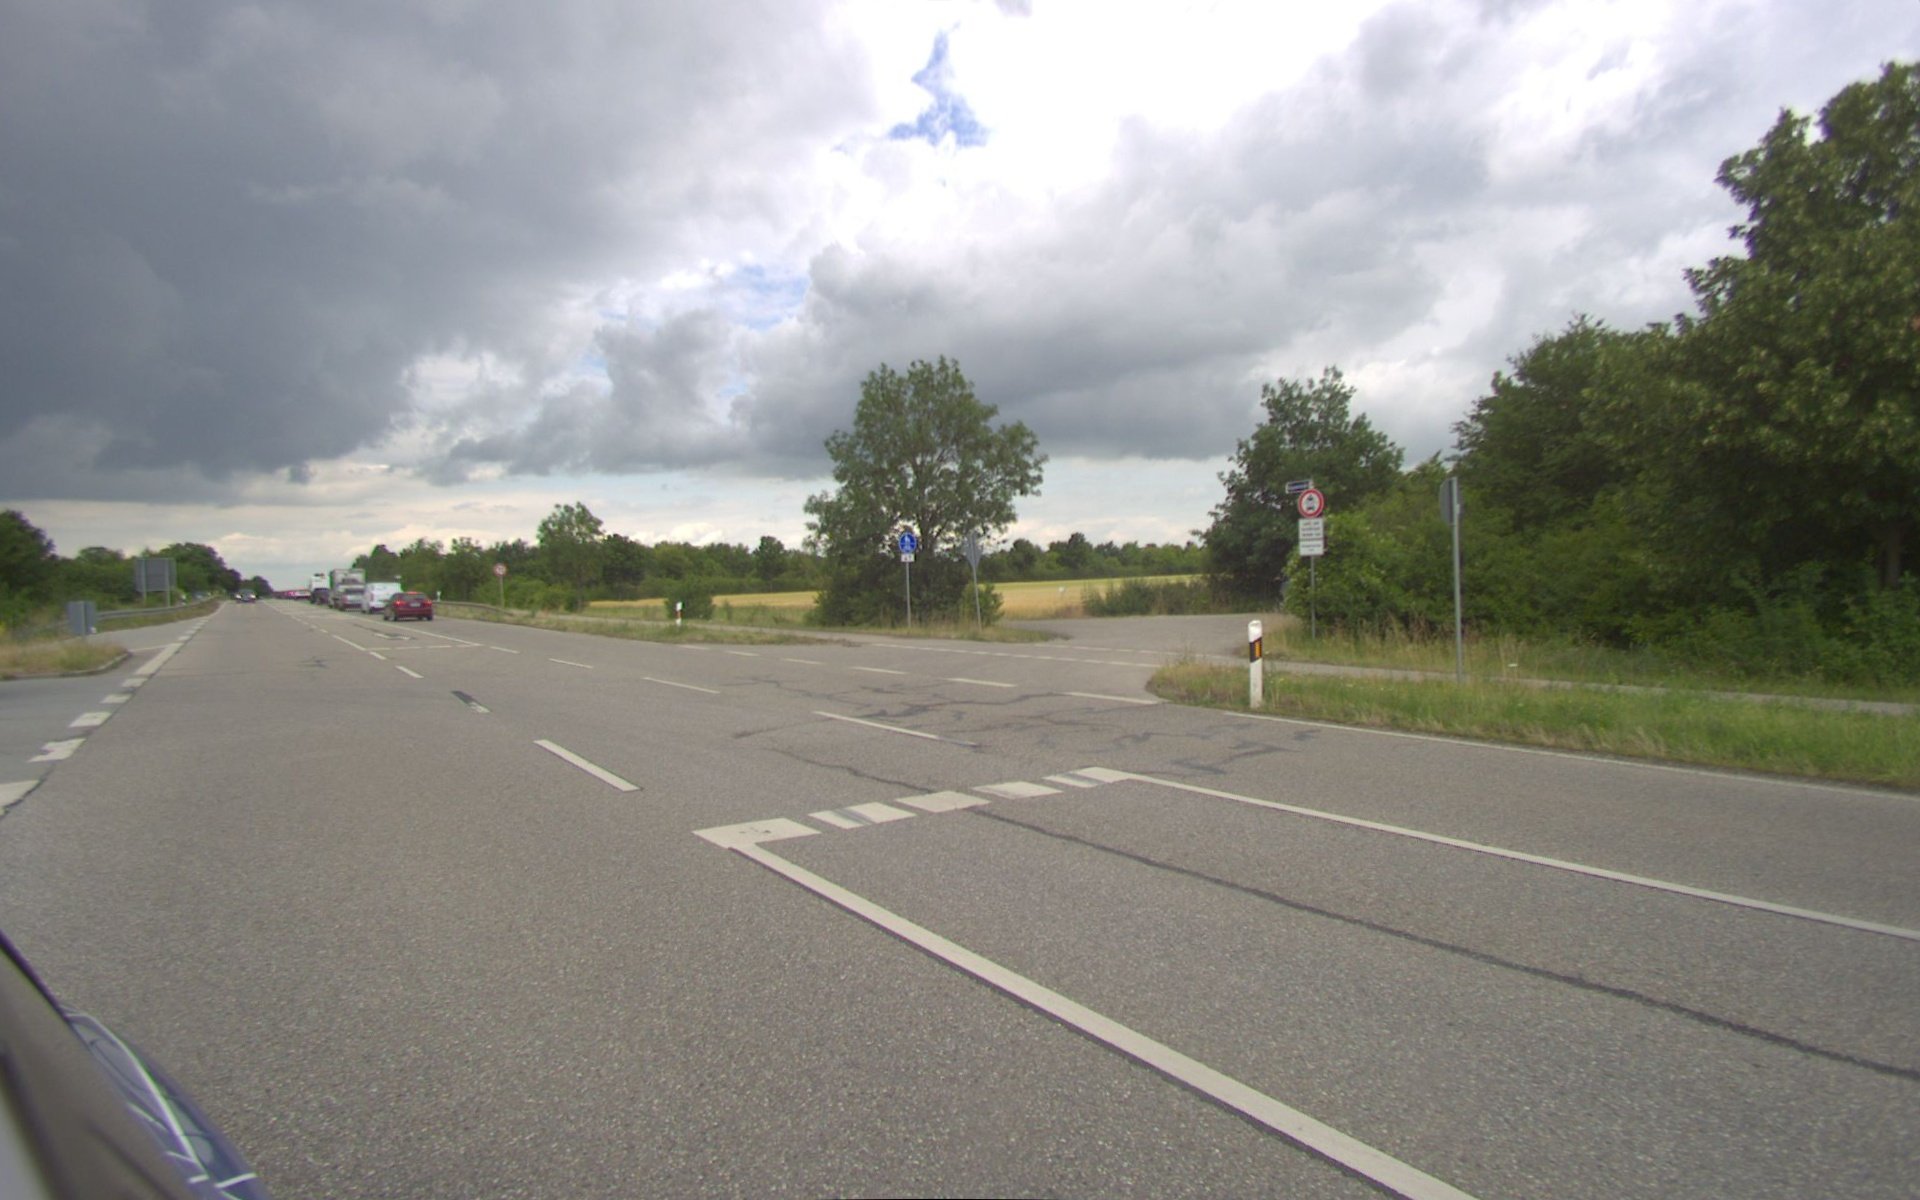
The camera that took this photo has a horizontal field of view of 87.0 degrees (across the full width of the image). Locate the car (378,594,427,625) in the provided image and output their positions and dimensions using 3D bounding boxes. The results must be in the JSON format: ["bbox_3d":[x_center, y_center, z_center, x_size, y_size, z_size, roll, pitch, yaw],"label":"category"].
[{"bbox_3d":[-27.451,0.468,49.779,1.650,1.412,4.099,-2,0,-35],"label":"car"}]

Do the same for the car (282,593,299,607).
[{"bbox_3d":[-97.866,0.003,147.909,1.768,2.028,4.009,-3,1,-37],"label":"car"}]

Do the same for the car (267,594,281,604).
[{"bbox_3d":[-122.663,-0.131,180.958,1.827,1.763,4.010,-3,1,-35],"label":"car"}]

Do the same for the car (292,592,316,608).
[{"bbox_3d":[-84.888,-0.020,130.872,2.303,1.936,4.887,-3,1,-36],"label":"car"}]

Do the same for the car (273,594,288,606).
[{"bbox_3d":[-108.724,-0.048,161.929,1.827,1.763,4.010,-3,1,-35],"label":"car"}]

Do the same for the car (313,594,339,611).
[{"bbox_3d":[-61.686,0.264,98.494,1.818,1.536,4.010,-3,1,-36],"label":"car"}]

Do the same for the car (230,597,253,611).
[{"bbox_3d":[-80.572,0.453,113.473,1.967,1.493,4.010,-3,2,-36],"label":"car"}]

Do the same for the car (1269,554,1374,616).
[{"bbox_3d":[12.476,-0.536,35.329,2.086,1.900,5.094,-3,1,5],"label":"car"}]

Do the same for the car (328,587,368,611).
[{"bbox_3d":[-43.632,-0.027,72.114,1.967,1.636,4.270,0,-1,-37],"label":"car"}]

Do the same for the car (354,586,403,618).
[{"bbox_3d":[-36.796,0.133,63.990,2.078,1.900,5.403,-2,1,-36],"label":"car"}]

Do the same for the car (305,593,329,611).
[{"bbox_3d":[-67.155,0.240,105.676,1.828,1.763,4.009,-3,1,-36],"label":"car"}]

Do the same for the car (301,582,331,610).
[{"bbox_3d":[-73.860,-0.464,115.973,2.303,3.051,6.573,-3,1,-36],"label":"car"}]

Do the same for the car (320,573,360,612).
[{"bbox_3d":[-50.344,-0.579,82.060,2.302,3.052,6.573,0,0,-36],"label":"car"}]
